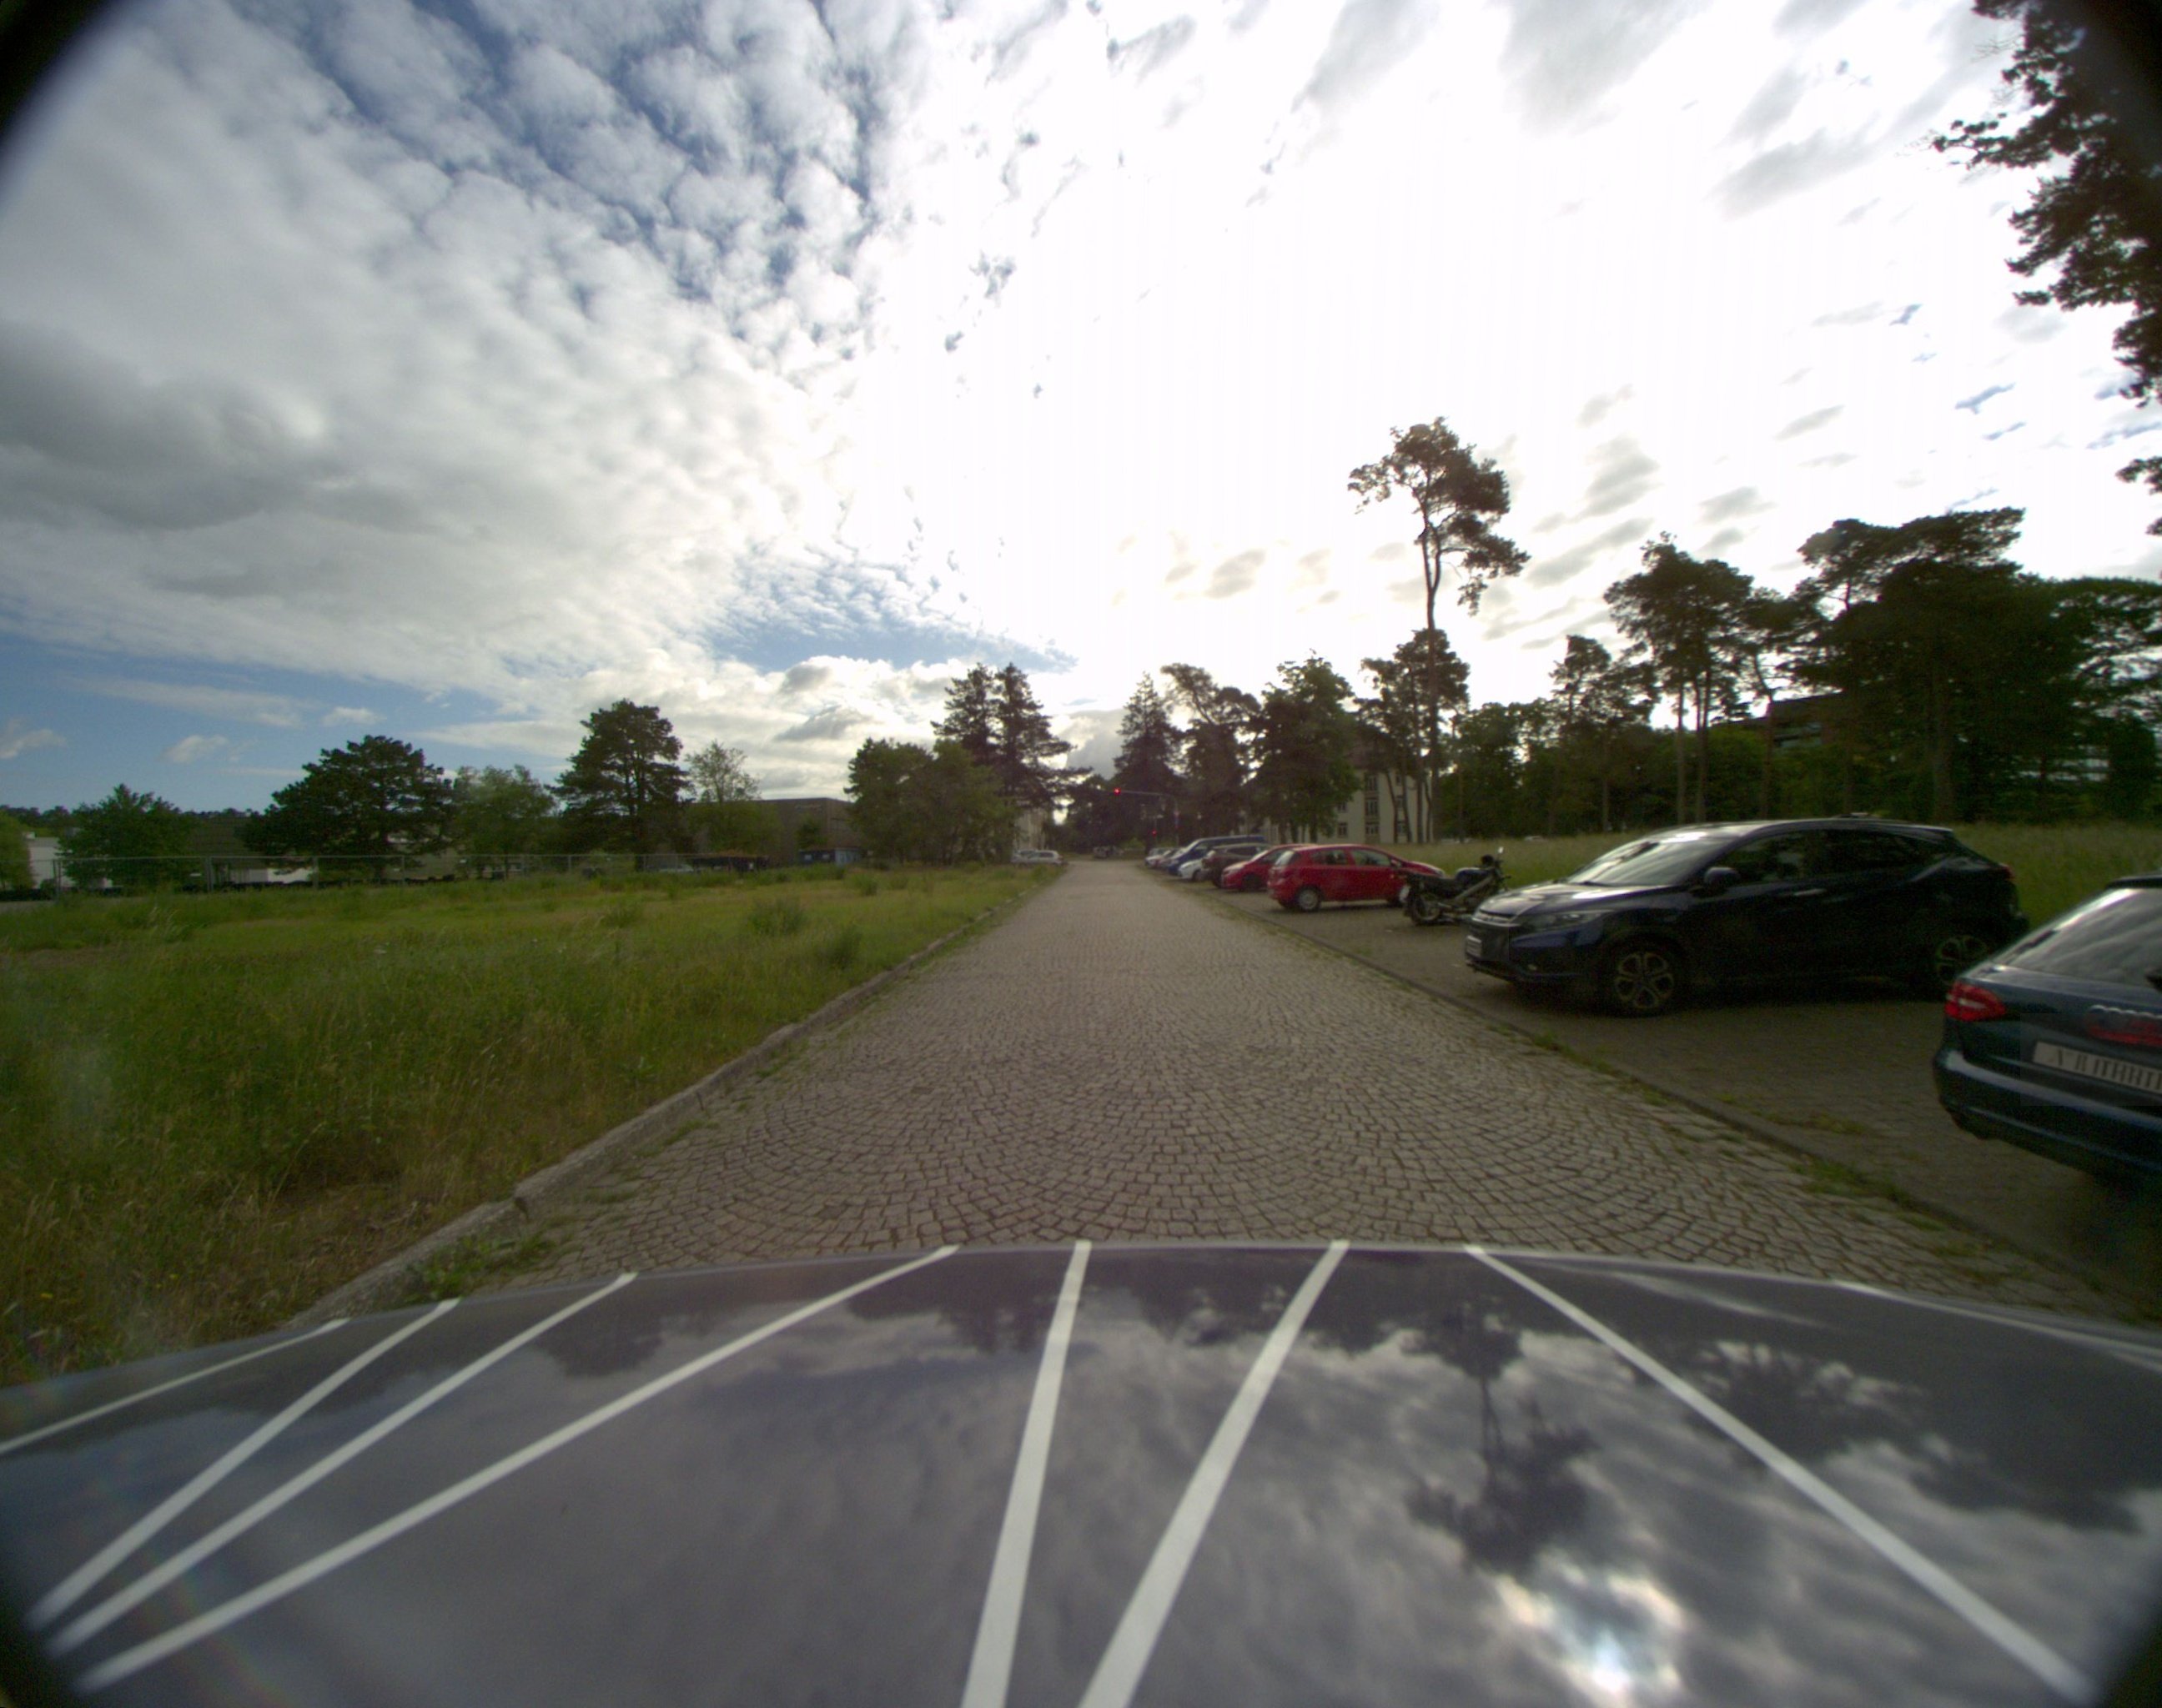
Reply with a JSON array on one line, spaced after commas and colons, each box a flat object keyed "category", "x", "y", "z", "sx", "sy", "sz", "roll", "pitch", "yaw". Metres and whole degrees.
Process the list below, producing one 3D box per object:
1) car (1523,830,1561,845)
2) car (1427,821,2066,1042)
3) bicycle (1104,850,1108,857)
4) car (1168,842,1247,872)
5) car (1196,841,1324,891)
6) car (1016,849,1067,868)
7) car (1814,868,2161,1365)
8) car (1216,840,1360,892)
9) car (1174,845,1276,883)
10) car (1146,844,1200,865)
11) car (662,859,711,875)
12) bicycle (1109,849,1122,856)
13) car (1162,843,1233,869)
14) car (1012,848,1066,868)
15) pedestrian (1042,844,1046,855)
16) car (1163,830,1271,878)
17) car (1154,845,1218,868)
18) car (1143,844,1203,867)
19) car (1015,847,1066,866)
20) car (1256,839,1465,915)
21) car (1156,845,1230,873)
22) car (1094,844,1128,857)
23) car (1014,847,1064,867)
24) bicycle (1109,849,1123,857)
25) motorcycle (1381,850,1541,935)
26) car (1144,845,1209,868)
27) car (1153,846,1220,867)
[{"category": "car", "x": 61.349, "y": -2.203, "z": 101.184, "sx": 3.996, "sy": 1.796, "sz": 1.722, "roll": -2, "pitch": 1, "yaw": 4}, {"category": "car", "x": 5.793, "y": 0.618, "z": 7.059, "sx": 4.239, "sy": 1.568, "sz": 1.887, "roll": -3, "pitch": 1, "yaw": 0}, {"category": "bicycle", "x": 3.504, "y": -0.029, "z": 105.865, "sx": 0.459, "sy": 0.903, "sz": 1.663, "roll": -2, "pitch": 1, "yaw": 5}, {"category": "car", "x": 6.925, "y": 0.169, "z": 41.903, "sx": 4.077, "sy": 1.489, "sz": 1.846, "roll": -2, "pitch": 1, "yaw": 2}, {"category": "car", "x": 6.459, "y": 0.413, "z": 27.738, "sx": 4.177, "sy": 1.613, "sz": 1.986, "roll": -2, "pitch": 1, "yaw": -1}, {"category": "car", "x": -3.198, "y": 0.332, "z": 62.406, "sx": 4.084, "sy": 1.444, "sz": 1.885, "roll": 1, "pitch": 1, "yaw": -1}, {"category": "car", "x": 5.506, "y": 0.763, "z": 2.417, "sx": 4.313, "sy": 1.452, "sz": 1.975, "roll": -3, "pitch": 1, "yaw": 3}, {"category": "car", "x": 6.729, "y": 0.378, "z": 24.990, "sx": 4.176, "sy": 1.501, "sz": 1.907, "roll": -2, "pitch": 1, "yaw": 0}, {"category": "car", "x": 6.383, "y": 0.422, "z": 34.036, "sx": 4.177, "sy": 1.501, "sz": 1.781, "roll": -2, "pitch": 1, "yaw": -1}, {"category": "car", "x": 7.298, "y": 0.064, "z": 60.468, "sx": 3.997, "sy": 1.534, "sz": 1.905, "roll": -2, "pitch": 1, "yaw": 0}, {"category": "car", "x": -40.693, "y": 1.370, "z": 78.440, "sx": 3.997, "sy": 1.474, "sz": 1.972, "roll": -2, "pitch": 1, "yaw": -1}, {"category": "bicycle", "x": 5.141, "y": -0.196, "z": 112.587, "sx": 1.950, "sy": 1.059, "sz": 0.562, "roll": -2, "pitch": 1, "yaw": 0}, {"category": "car", "x": 7.248, "y": 0.124, "z": 47.665, "sx": 4.176, "sy": 1.473, "sz": 1.846, "roll": -2, "pitch": 1, "yaw": 2}, {"category": "car", "x": -3.272, "y": 0.327, "z": 59.697, "sx": 4.084, "sy": 1.506, "sz": 1.804, "roll": 1, "pitch": 1, "yaw": -1}, {"category": "pedestrian", "x": -6.136, "y": -0.729, "z": 124.934, "sx": 0.568, "sy": 1.691, "sz": 0.532, "roll": -2, "pitch": 1, "yaw": 5}, {"category": "car", "x": 6.484, "y": -0.024, "z": 36.615, "sx": 4.794, "sy": 2.110, "sz": 2.115, "roll": -2, "pitch": 1, "yaw": 1}, {"category": "car", "x": 7.248, "y": 0.170, "z": 52.696, "sx": 4.176, "sy": 1.468, "sz": 1.864, "roll": -2, "pitch": 1, "yaw": 1}, {"category": "car", "x": 6.970, "y": 0.101, "z": 57.745, "sx": 4.261, "sy": 1.539, "sz": 1.935, "roll": -2, "pitch": 1, "yaw": -2}, {"category": "car", "x": -3.565, "y": 0.216, "z": 67.684, "sx": 4.504, "sy": 1.556, "sz": 1.905, "roll": 1, "pitch": 1, "yaw": -1}, {"category": "car", "x": 6.263, "y": 0.492, "z": 17.369, "sx": 4.065, "sy": 1.516, "sz": 1.904, "roll": -2, "pitch": 1, "yaw": 0}, {"category": "car", "x": 6.547, "y": 0.289, "z": 44.756, "sx": 4.175, "sy": 1.483, "sz": 1.865, "roll": -2, "pitch": 1, "yaw": 3}, {"category": "car", "x": 5.006, "y": -0.656, "z": 127.681, "sx": 5.366, "sy": 1.987, "sz": 2.289, "roll": -2, "pitch": 1, "yaw": -7}, {"category": "car", "x": -3.566, "y": 0.239, "z": 65.131, "sx": 4.251, "sy": 1.587, "sz": 1.884, "roll": 1, "pitch": 1, "yaw": -2}, {"category": "bicycle", "x": 5.072, "y": -0.117, "z": 109.250, "sx": 1.898, "sy": 1.059, "sz": 0.616, "roll": -2, "pitch": 1, "yaw": 0}, {"category": "motorcycle", "x": 6.403, "y": 0.636, "z": 12.890, "sx": 2.280, "sy": 1.284, "sz": 0.719, "roll": -3, "pitch": 1, "yaw": 2}, {"category": "car", "x": 6.888, "y": 0.144, "z": 55.002, "sx": 4.385, "sy": 1.499, "sz": 1.935, "roll": -2, "pitch": 1, "yaw": -1}, {"category": "car", "x": 6.947, "y": 0.142, "z": 50.330, "sx": 4.176, "sy": 1.259, "sz": 1.831, "roll": -2, "pitch": 1, "yaw": 3}]
